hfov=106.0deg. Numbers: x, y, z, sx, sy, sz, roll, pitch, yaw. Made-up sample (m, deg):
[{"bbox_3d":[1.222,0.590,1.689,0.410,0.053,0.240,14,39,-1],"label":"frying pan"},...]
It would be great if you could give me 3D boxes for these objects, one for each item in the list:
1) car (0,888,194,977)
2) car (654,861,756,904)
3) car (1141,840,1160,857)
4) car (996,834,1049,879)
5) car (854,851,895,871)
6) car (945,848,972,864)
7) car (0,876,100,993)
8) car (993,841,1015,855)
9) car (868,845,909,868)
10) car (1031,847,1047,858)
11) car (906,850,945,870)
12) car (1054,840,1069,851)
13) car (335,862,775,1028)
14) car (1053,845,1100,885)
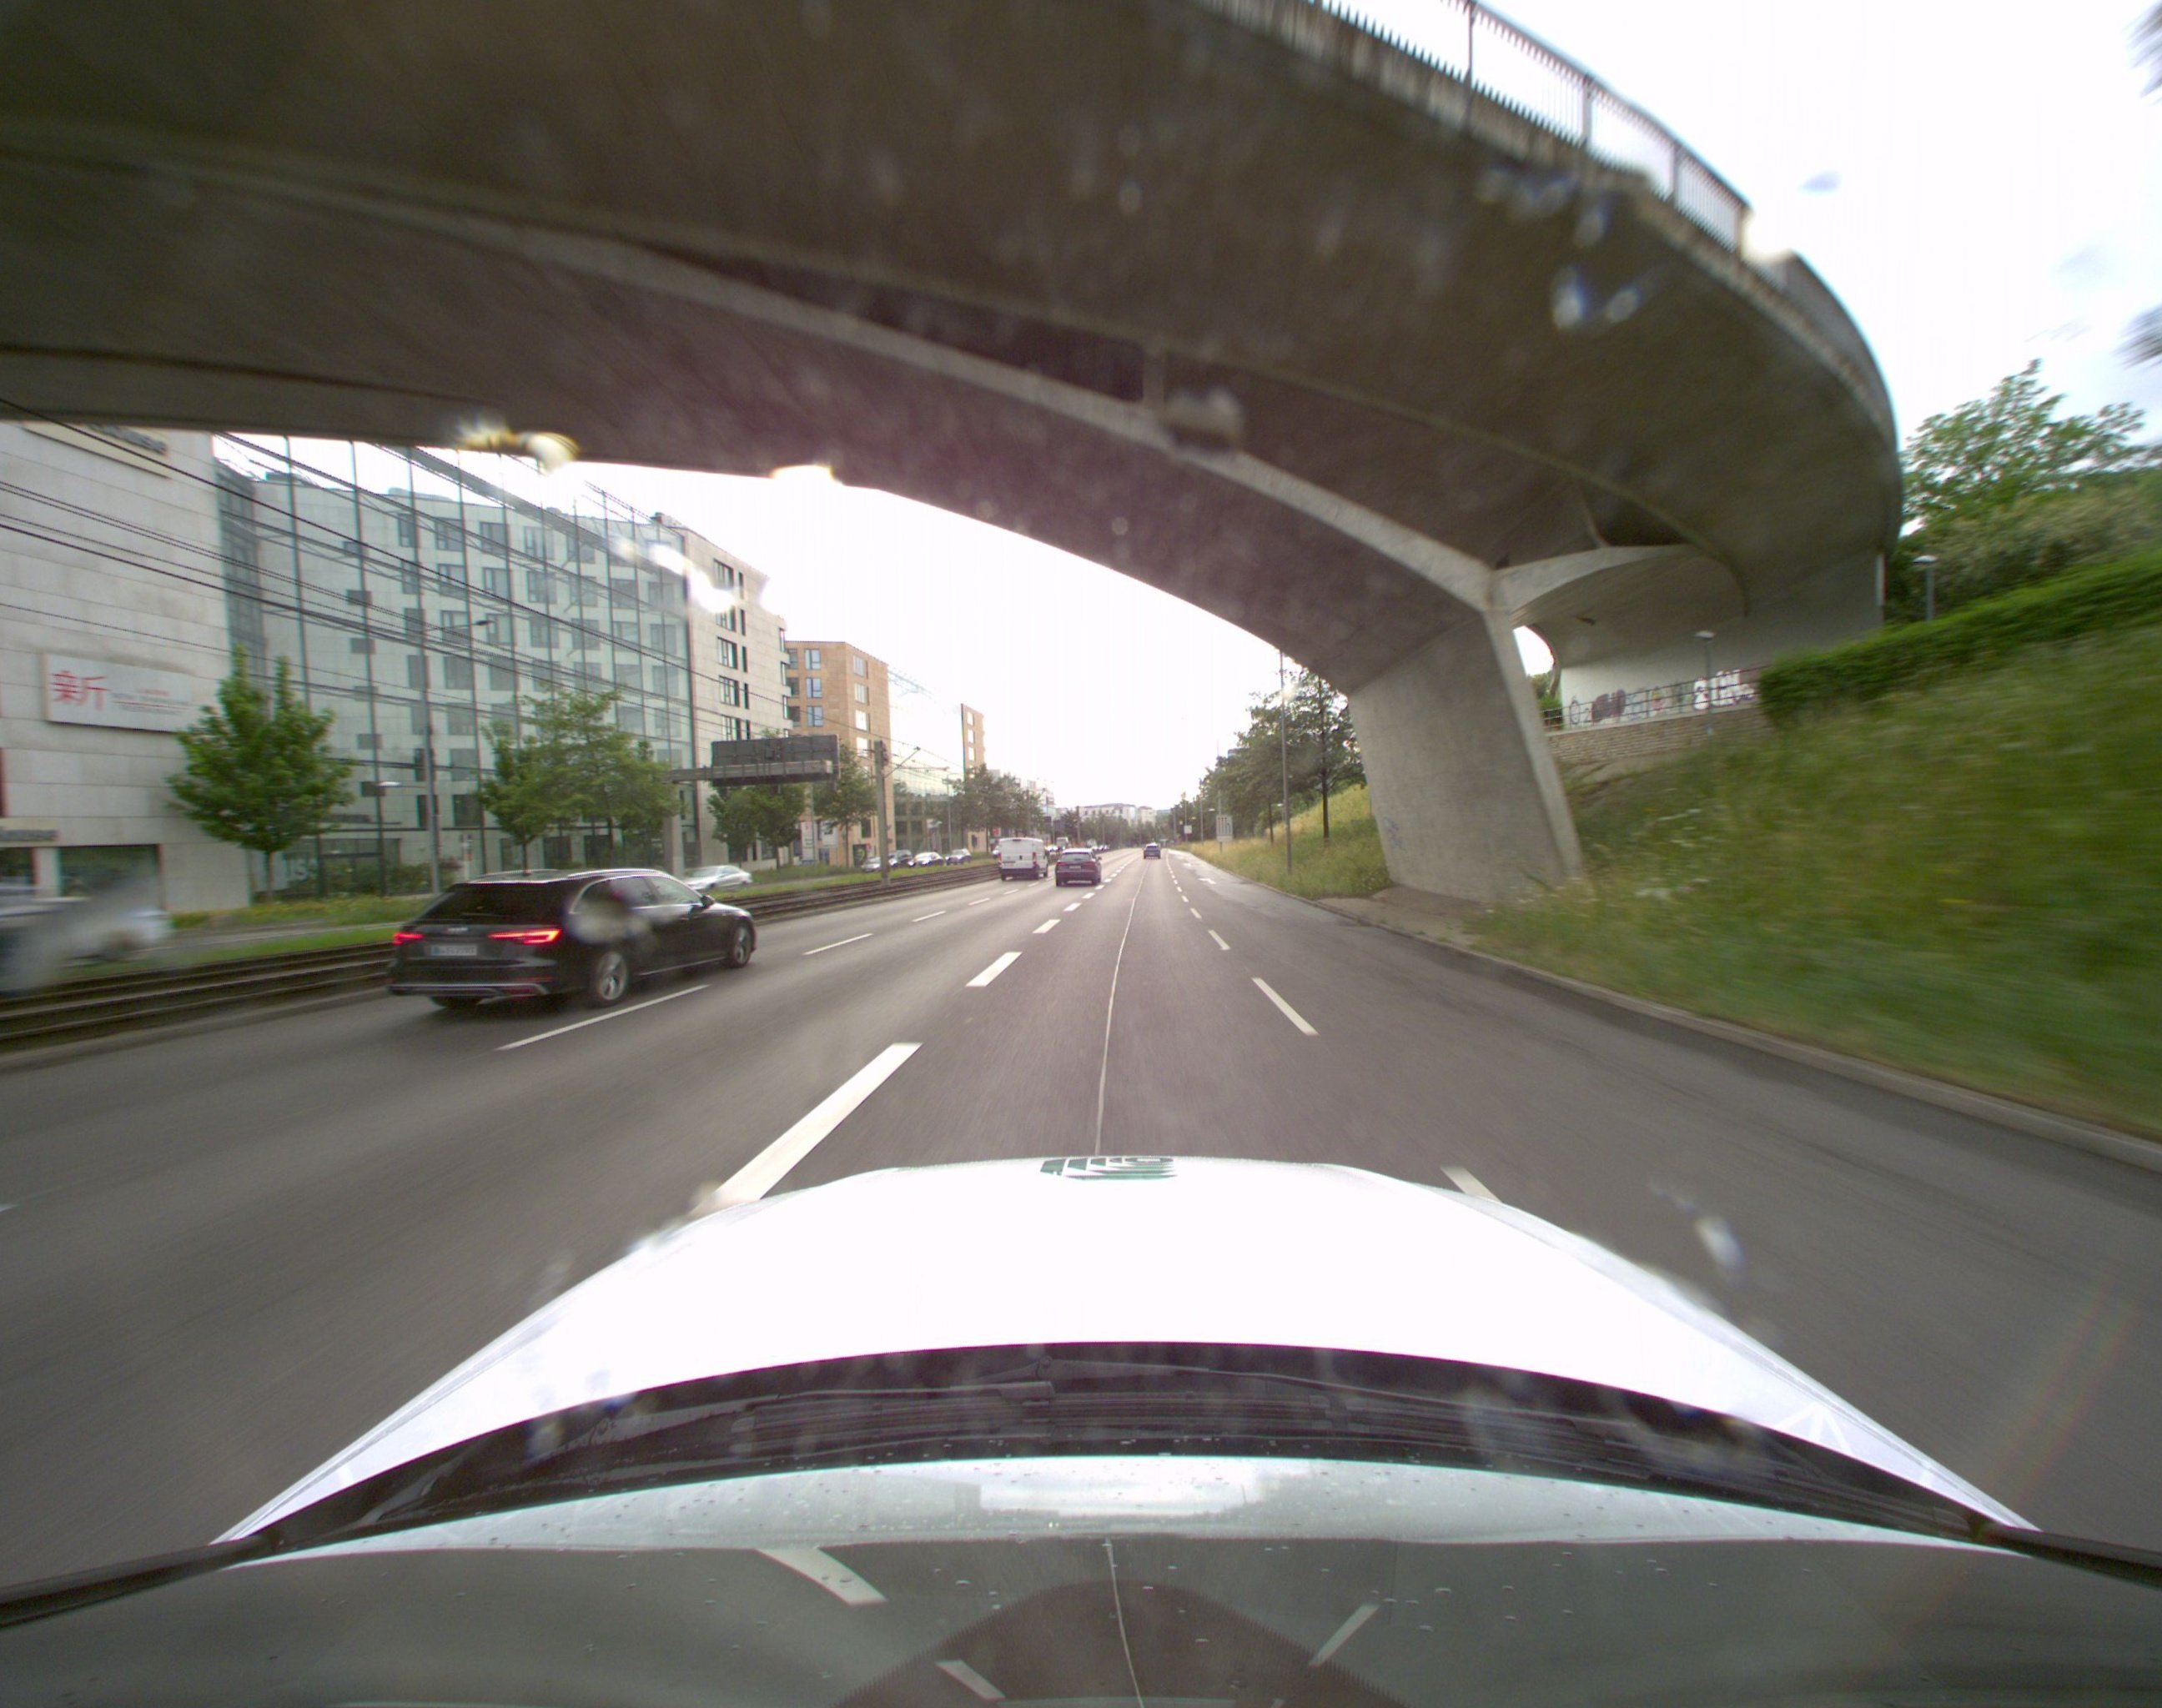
[{"bbox_3d":[-21.317,1.574,16.244,1.911,1.497,4.664,-1,1,5],"label":"car"},{"bbox_3d":[-16.147,1.157,35.292,1.755,1.597,4.801,-1,1,6],"label":"car"},{"bbox_3d":[7.247,-0.559,84.667,1.782,1.591,4.003,-3,0,3],"label":"car"},{"bbox_3d":[-3.148,0.095,44.650,2.258,2.284,4.764,-1,1,3],"label":"car"},{"bbox_3d":[-16.570,0.545,65.471,1.800,1.533,4.283,-1,1,6],"label":"car"},{"bbox_3d":[-13.383,0.195,88.994,1.800,1.606,4.499,-1,1,6],"label":"car"},{"bbox_3d":[-17.886,1.307,11.832,1.910,1.776,4.232,-1,1,6],"label":"car"},{"bbox_3d":[-10.249,-0.810,109.236,1.928,1.761,5.071,-1,1,6],"label":"car"},{"bbox_3d":[-17.775,0.221,75.308,2.048,1.952,5.142,-1,1,6],"label":"car"},{"bbox_3d":[-7.272,-0.316,140.603,1.928,1.761,4.819,-1,1,6],"label":"car"},{"bbox_3d":[-12.825,0.466,67.379,1.800,1.533,4.878,-1,1,6],"label":"car"},{"bbox_3d":[-3.406,-1.478,141.601,1.928,1.761,4.819,-1,1,6],"label":"car"},{"bbox_3d":[-5.609,0.838,9.660,1.777,1.413,4.812,-1,0,5],"label":"car"},{"bbox_3d":[-0.143,0.480,37.381,1.914,1.710,4.101,-1,-1,3],"label":"car"}]
